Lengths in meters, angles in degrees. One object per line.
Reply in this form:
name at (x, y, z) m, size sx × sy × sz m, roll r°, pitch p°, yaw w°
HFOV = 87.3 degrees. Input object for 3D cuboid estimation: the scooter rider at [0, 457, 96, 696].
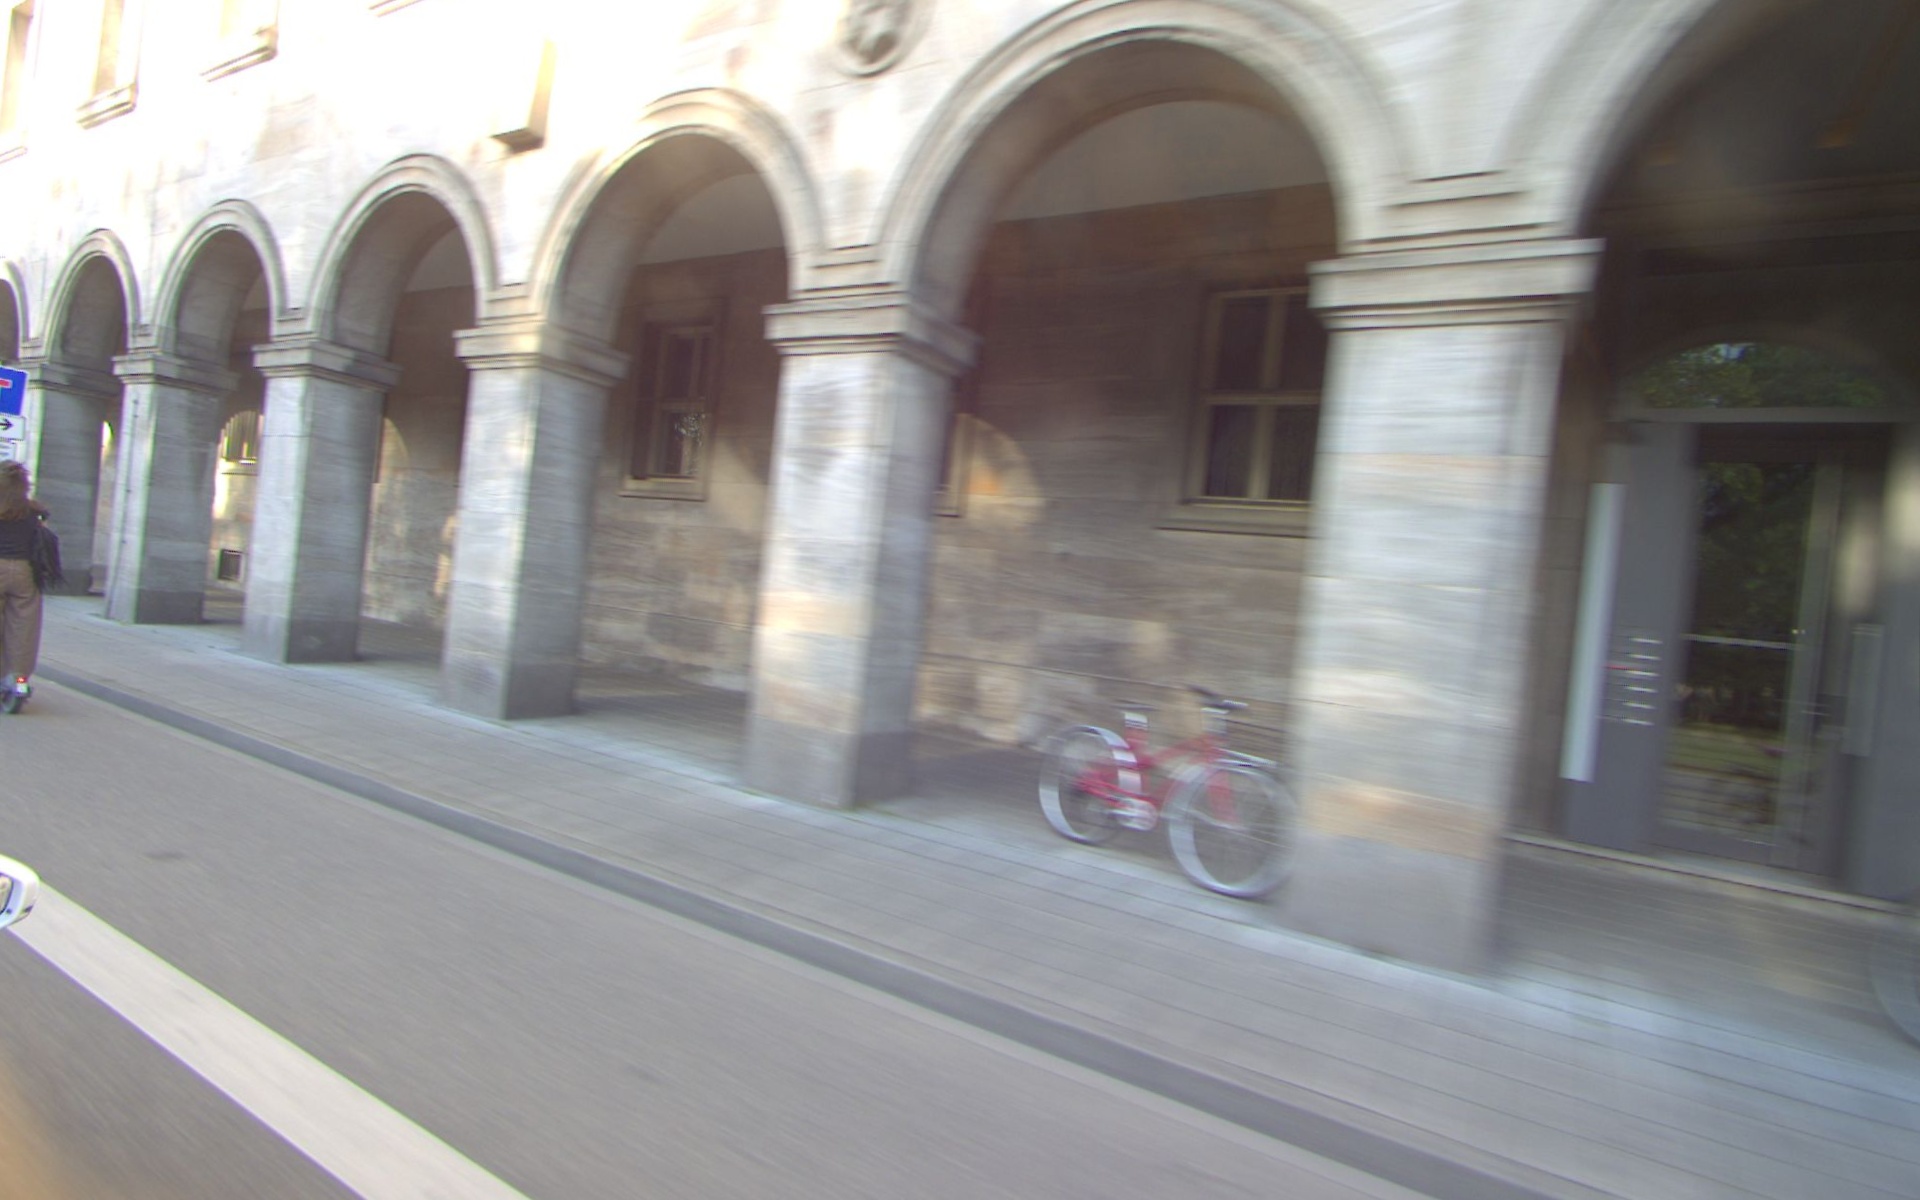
scooter rider at (-6.796, -0.170, 7.281) m, size 0.640 × 1.652 × 0.561 m, roll 7°, pitch 1°, yaw 34°

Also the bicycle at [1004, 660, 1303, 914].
bicycle at (1.041, 0.987, 5.803) m, size 0.468 × 1.064 × 1.694 m, roll 4°, pitch 2°, yaw -39°

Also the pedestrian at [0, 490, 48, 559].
pedestrian at (-23.521, -1.893, 25.110) m, size 0.936 × 1.589 × 0.777 m, roll 7°, pitch 1°, yaw 30°

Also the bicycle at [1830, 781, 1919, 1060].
bicycle at (4.322, 1.367, 3.588) m, size 0.602 × 1.064 × 1.707 m, roll 5°, pitch 1°, yaw -15°

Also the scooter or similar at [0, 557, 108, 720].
scooter or similar at (-6.712, 0.250, 7.205) m, size 1.099 × 1.044 × 0.556 m, roll 7°, pitch 1°, yaw 32°
